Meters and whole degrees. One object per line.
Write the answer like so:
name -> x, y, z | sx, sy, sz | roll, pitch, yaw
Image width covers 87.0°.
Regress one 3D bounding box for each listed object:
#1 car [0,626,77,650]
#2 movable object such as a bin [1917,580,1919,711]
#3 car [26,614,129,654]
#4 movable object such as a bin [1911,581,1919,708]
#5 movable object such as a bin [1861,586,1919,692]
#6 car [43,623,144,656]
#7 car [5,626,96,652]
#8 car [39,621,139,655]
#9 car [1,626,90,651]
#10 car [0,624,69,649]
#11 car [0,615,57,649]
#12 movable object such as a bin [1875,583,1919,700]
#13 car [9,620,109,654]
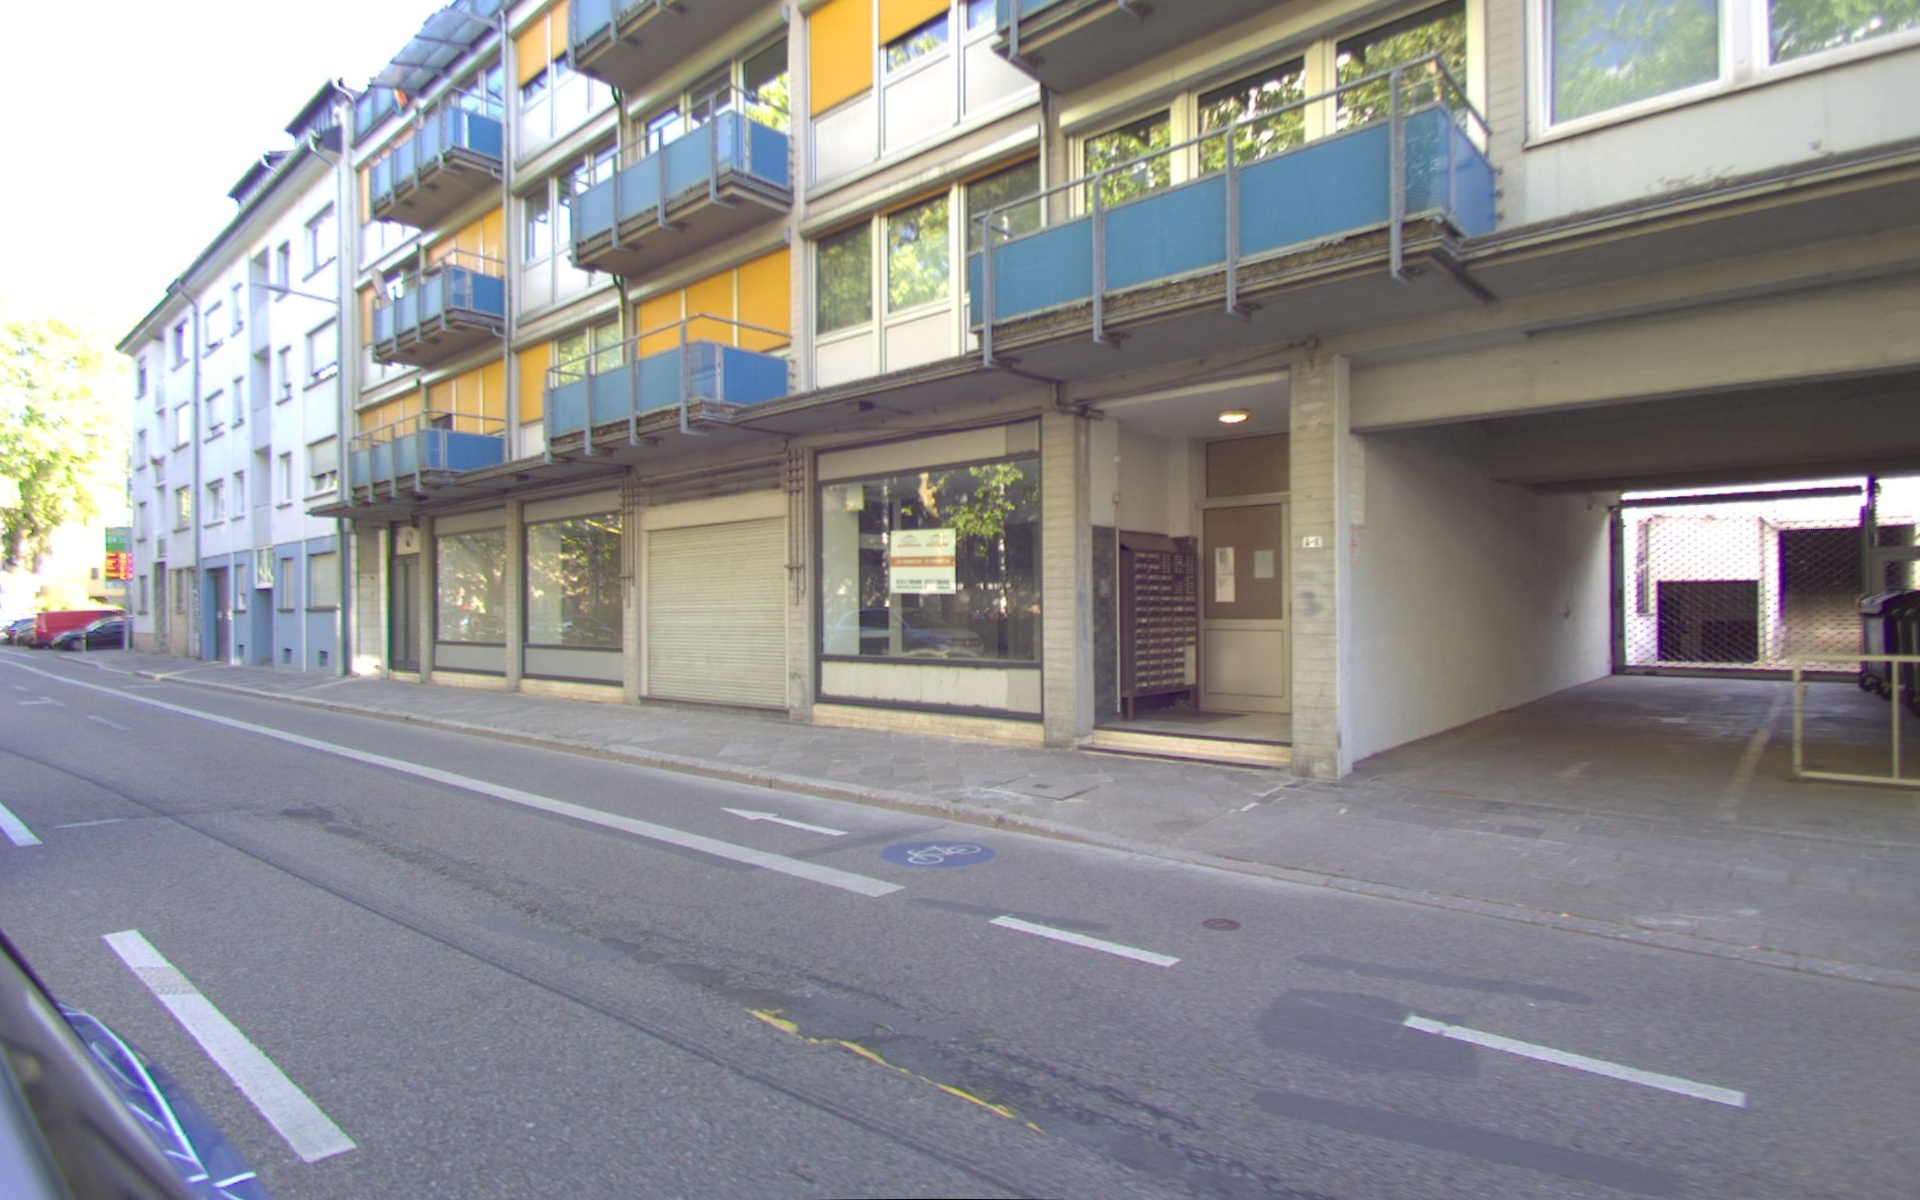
car -> -58.920, 2.390, 64.528 | 1.525, 1.343, 3.854 | -1, 0, 43
movable object such as a bin -> 11.415, 0.516, 11.117 | 1.280, 1.497, 1.147 | -1, 0, 44
car -> -45.550, 1.720, 52.270 | 1.749, 1.921, 3.854 | -2, -1, 43
movable object such as a bin -> 12.195, 0.516, 12.032 | 1.280, 1.506, 1.147 | -1, 0, 44
movable object such as a bin -> 13.664, 0.535, 14.455 | 1.143, 1.476, 1.121 | -1, 0, 44
car -> -41.670, 1.891, 48.722 | 1.534, 1.420, 3.550 | -2, -1, 43
car -> -53.627, 2.272, 59.700 | 1.594, 1.385, 3.854 | -1, 0, 43
car -> -43.373, 1.850, 50.433 | 1.602, 1.521, 3.619 | -1, 0, 43
car -> -55.129, 2.296, 61.053 | 1.594, 1.385, 3.854 | -1, 0, 43
car -> -60.935, 2.384, 66.304 | 1.539, 1.451, 3.733 | -1, 0, 43
car -> -64.409, 2.172, 69.165 | 1.725, 2.193, 3.854 | -1, 0, 43
movable object such as a bin -> 12.793, 0.519, 13.168 | 1.280, 1.497, 1.147 | -1, 0, 44
car -> -47.883, 1.942, 53.830 | 1.603, 1.598, 3.854 | -1, 0, 43
